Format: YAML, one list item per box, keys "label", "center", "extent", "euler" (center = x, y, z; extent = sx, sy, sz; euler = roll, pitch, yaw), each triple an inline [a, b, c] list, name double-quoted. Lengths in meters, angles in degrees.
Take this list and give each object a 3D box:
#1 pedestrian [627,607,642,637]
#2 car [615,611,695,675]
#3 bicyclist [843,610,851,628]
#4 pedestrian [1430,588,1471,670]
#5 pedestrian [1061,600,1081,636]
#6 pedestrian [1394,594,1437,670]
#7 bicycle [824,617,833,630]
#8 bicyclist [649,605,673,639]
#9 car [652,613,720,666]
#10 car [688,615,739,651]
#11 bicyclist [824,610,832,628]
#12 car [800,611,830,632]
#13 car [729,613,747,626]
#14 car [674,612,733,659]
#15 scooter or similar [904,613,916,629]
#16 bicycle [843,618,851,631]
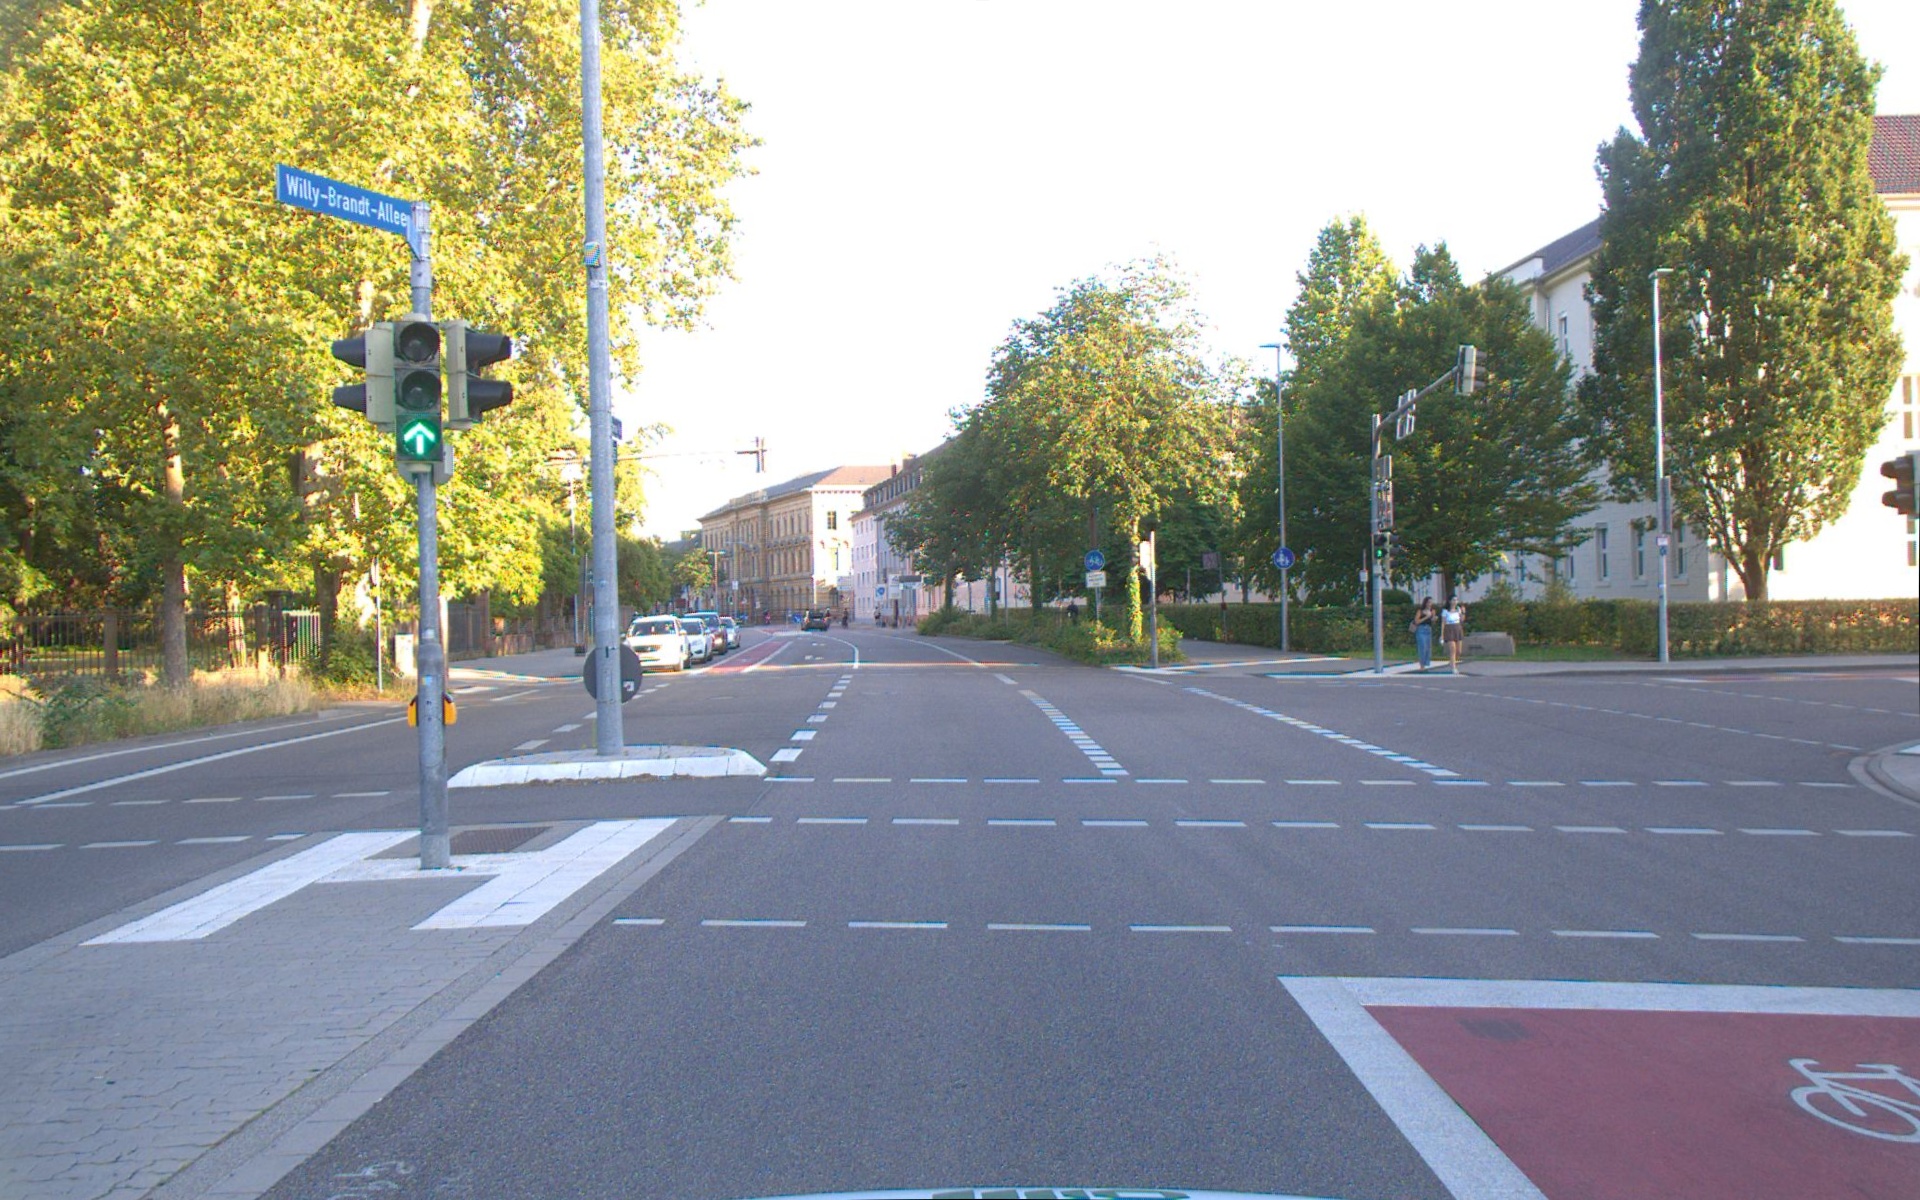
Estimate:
- label: "pedestrian"
  center: [-18.537, 1.248, 94.231]
  extent: [0.667, 1.651, 0.688]
  euler: [-1, 0, -1]
- label: "car"
  center: [-9.167, 1.260, 50.024]
  extent: [1.879, 1.725, 4.422]
  euler: [-3, 0, -5]
- label: "bicyclist"
  center: [-9.513, 1.589, 139.777]
  extent: [0.639, 1.501, 0.940]
  euler: [1, -1, -3]
- label: "pedestrian"
  center: [10.888, 0.635, 36.725]
  extent: [0.667, 1.784, 0.688]
  euler: [-1, 0, -1]
- label: "pedestrian"
  center: [5.484, 0.893, 81.918]
  extent: [0.756, 1.769, 0.805]
  euler: [-1, 0, -10]
- label: "pedestrian"
  center: [10.143, 0.699, 36.863]
  extent: [0.667, 1.650, 0.845]
  euler: [-1, 0, -1]
- label: "bicycle"
  center: [-11.134, 1.962, 139.707]
  extent: [0.639, 1.033, 2.194]
  euler: [1, -1, -7]
- label: "bicyclist"
  center: [-13.239, 0.981, 73.231]
  extent: [0.838, 1.456, 0.943]
  euler: [-1, 0, -1]
- label: "car"
  center: [-9.376, 1.315, 56.913]
  extent: [1.879, 1.611, 4.669]
  euler: [-3, 0, -5]
- label: "car"
  center: [-10.866, 1.439, 73.208]
  extent: [1.879, 1.442, 4.765]
  euler: [-3, 0, -5]
- label: "bicyclist"
  center: [-11.120, 1.594, 139.682]
  extent: [0.639, 1.471, 0.878]
  euler: [1, -1, -7]
- label: "car"
  center: [-10.884, 1.618, 123.687]
  extent: [1.834, 1.536, 3.989]
  euler: [0, -1, -11]
- label: "car"
  center: [-27.542, 2.434, 205.286]
  extent: [1.882, 1.442, 4.757]
  euler: [-3, 0, -11]
- label: "car"
  center: [-10.089, 1.376, 65.366]
  extent: [1.879, 1.653, 4.634]
  euler: [-3, 0, -5]
- label: "scooter or similar"
  center: [-4.391, 1.838, 145.170]
  extent: [0.619, 1.360, 2.391]
  euler: [-1, -1, -14]
- label: "bicycle"
  center: [-9.516, 2.064, 139.874]
  extent: [0.639, 1.033, 2.196]
  euler: [1, -1, -3]
